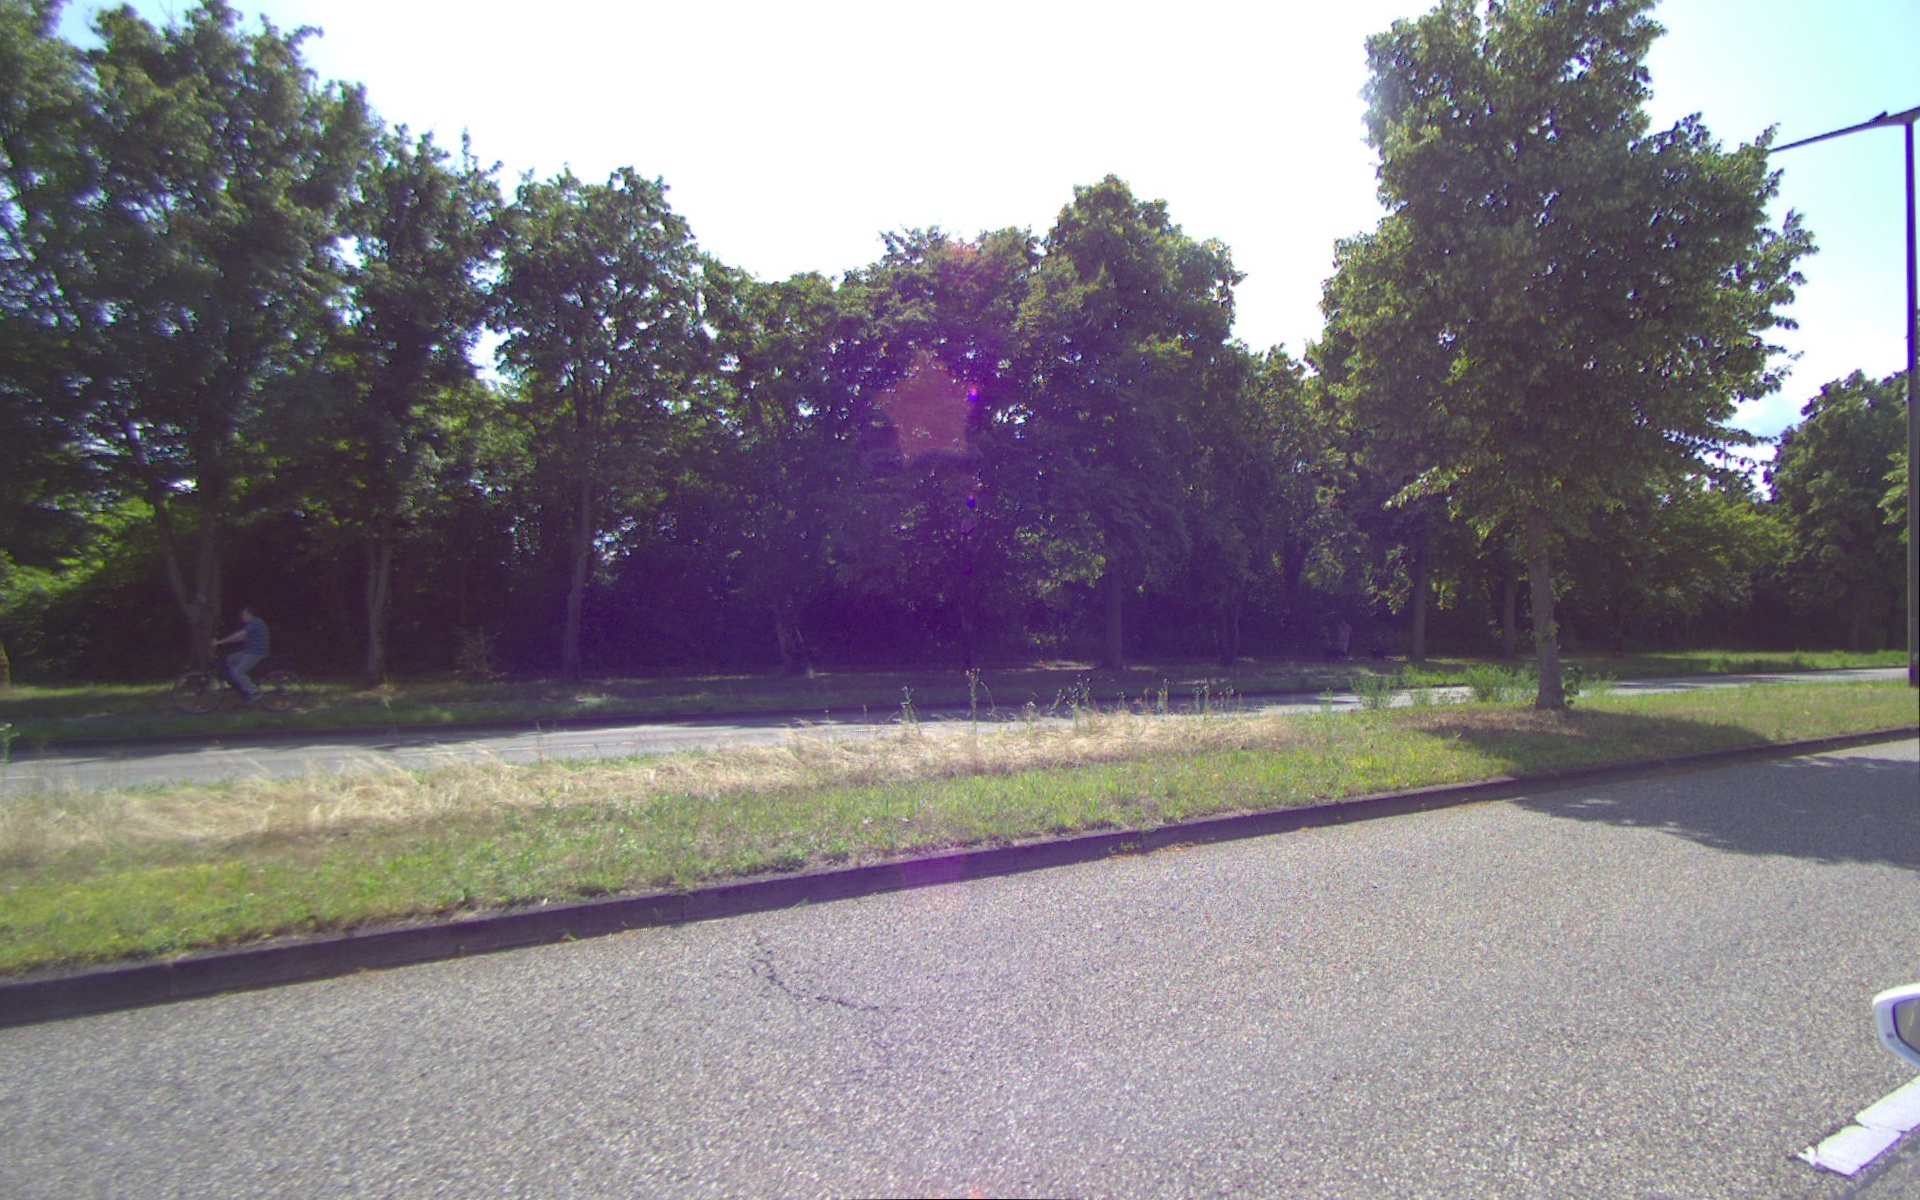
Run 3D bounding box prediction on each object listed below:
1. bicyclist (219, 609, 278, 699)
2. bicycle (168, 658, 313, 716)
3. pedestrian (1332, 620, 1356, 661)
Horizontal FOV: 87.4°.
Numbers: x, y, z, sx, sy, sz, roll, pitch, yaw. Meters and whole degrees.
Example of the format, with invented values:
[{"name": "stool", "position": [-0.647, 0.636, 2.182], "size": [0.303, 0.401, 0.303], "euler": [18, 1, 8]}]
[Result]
[{"name": "bicyclist", "position": [-11.950, 0.900, 16.886], "size": [0.720, 1.467, 0.615], "euler": [1, -1, -28]}, {"name": "bicycle", "position": [-12.015, 1.430, 16.842], "size": [1.891, 0.890, 0.615], "euler": [1, -1, -29]}, {"name": "pedestrian", "position": [15.775, 1.653, 41.251], "size": [0.648, 1.652, 0.641], "euler": [1, 0, -30]}]
